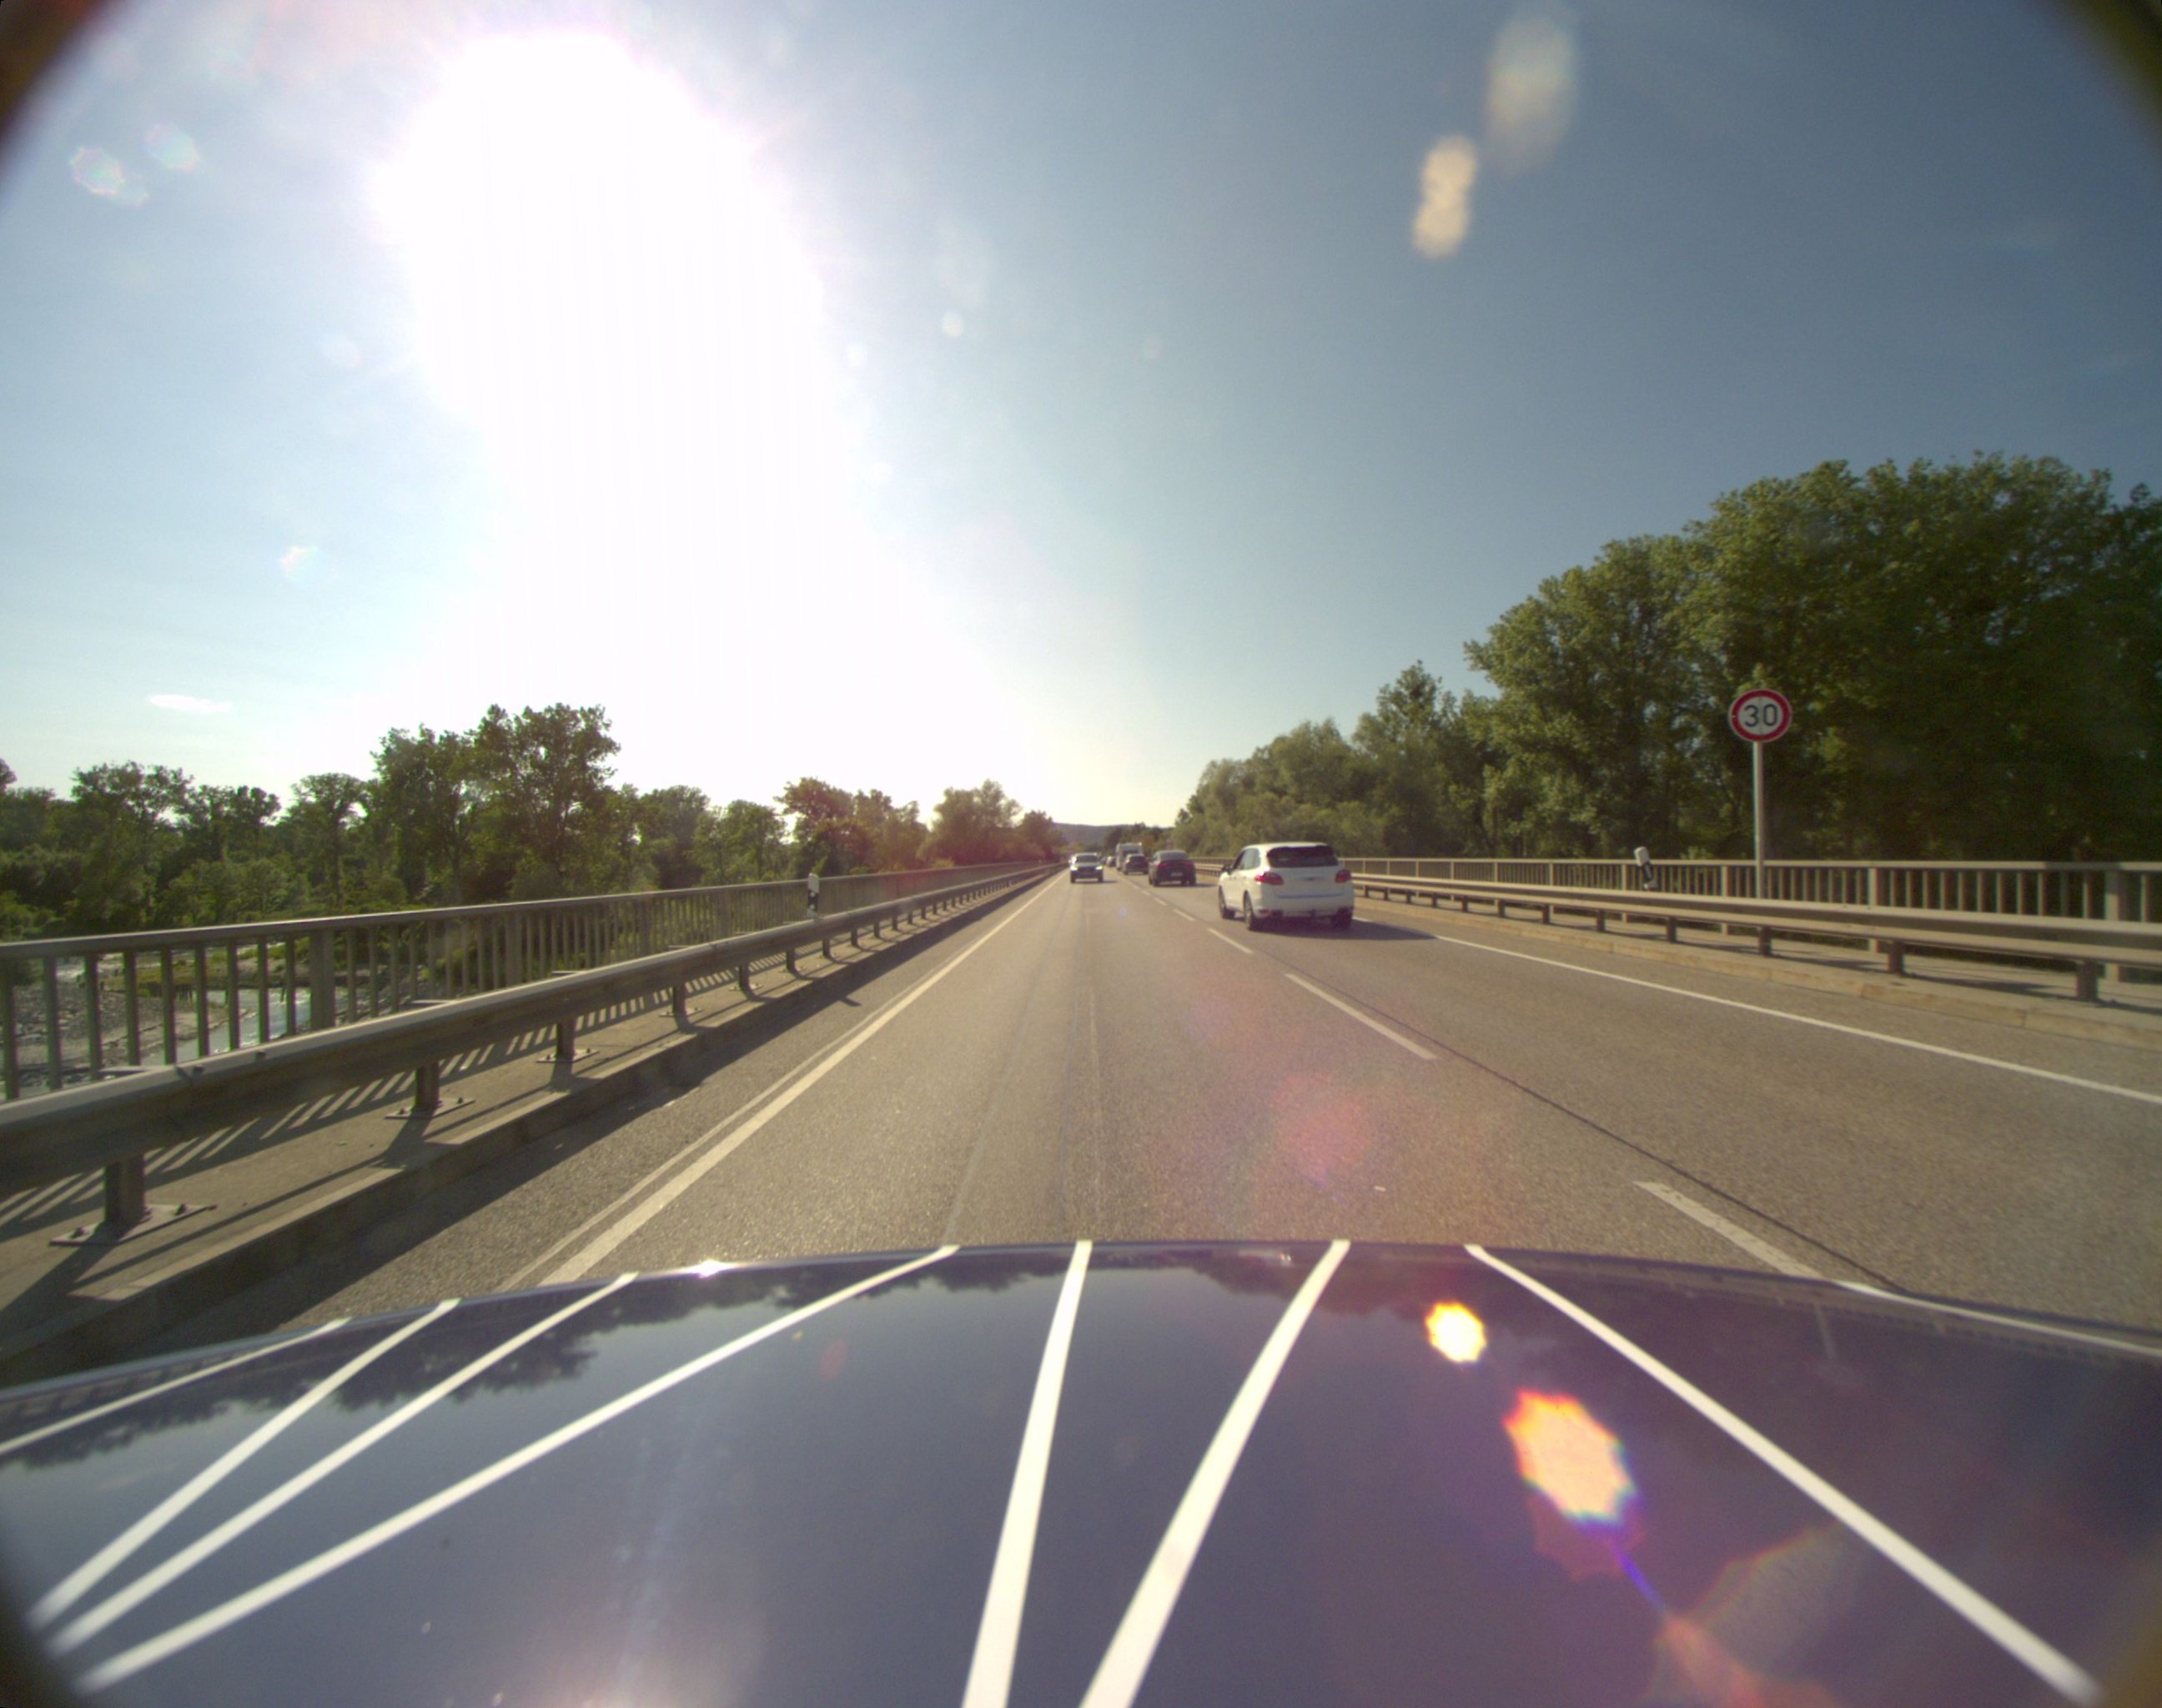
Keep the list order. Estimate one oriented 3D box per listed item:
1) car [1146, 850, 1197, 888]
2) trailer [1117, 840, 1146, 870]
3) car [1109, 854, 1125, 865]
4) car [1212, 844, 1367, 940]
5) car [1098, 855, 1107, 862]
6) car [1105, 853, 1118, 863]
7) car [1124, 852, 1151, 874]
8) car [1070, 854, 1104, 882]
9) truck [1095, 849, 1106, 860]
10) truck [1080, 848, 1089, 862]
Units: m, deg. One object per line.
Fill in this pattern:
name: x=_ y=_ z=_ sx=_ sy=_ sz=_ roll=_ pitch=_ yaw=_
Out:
car: x=4.378 y=0.680 z=37.381 sx=1.954 sy=1.684 sz=4.476 roll=-2 pitch=0 yaw=0
trailer: x=4.980 y=0.093 z=75.509 sx=2.561 sy=2.721 sz=8.063 roll=-2 pitch=0 yaw=2
car: x=4.829 y=0.752 z=102.760 sx=1.791 sy=1.412 sz=4.650 roll=-1 pitch=0 yaw=-1
car: x=4.120 y=0.686 z=15.873 sx=1.988 sy=1.641 sz=4.598 roll=-2 pitch=0 yaw=1
car: x=5.025 y=1.169 z=180.693 sx=1.825 sy=1.537 sz=4.061 roll=-4 pitch=0 yaw=0
car: x=4.629 y=0.660 z=116.275 sx=1.736 sy=1.427 sz=4.486 roll=-2 pitch=0 yaw=0
car: x=4.459 y=0.700 z=60.594 sx=1.807 sy=1.651 sz=4.433 roll=-1 pitch=0 yaw=0
car: x=0.406 y=0.813 z=46.162 sx=1.871 sy=1.598 sz=4.380 roll=-2 pitch=0 yaw=1
truck: x=5.539 y=0.131 z=217.136 sx=2.620 sy=3.235 sz=6.967 roll=-2 pitch=0 yaw=0
truck: x=1.158 y=0.373 z=255.750 sx=2.744 sy=4.303 sz=8.130 roll=-2 pitch=0 yaw=0
